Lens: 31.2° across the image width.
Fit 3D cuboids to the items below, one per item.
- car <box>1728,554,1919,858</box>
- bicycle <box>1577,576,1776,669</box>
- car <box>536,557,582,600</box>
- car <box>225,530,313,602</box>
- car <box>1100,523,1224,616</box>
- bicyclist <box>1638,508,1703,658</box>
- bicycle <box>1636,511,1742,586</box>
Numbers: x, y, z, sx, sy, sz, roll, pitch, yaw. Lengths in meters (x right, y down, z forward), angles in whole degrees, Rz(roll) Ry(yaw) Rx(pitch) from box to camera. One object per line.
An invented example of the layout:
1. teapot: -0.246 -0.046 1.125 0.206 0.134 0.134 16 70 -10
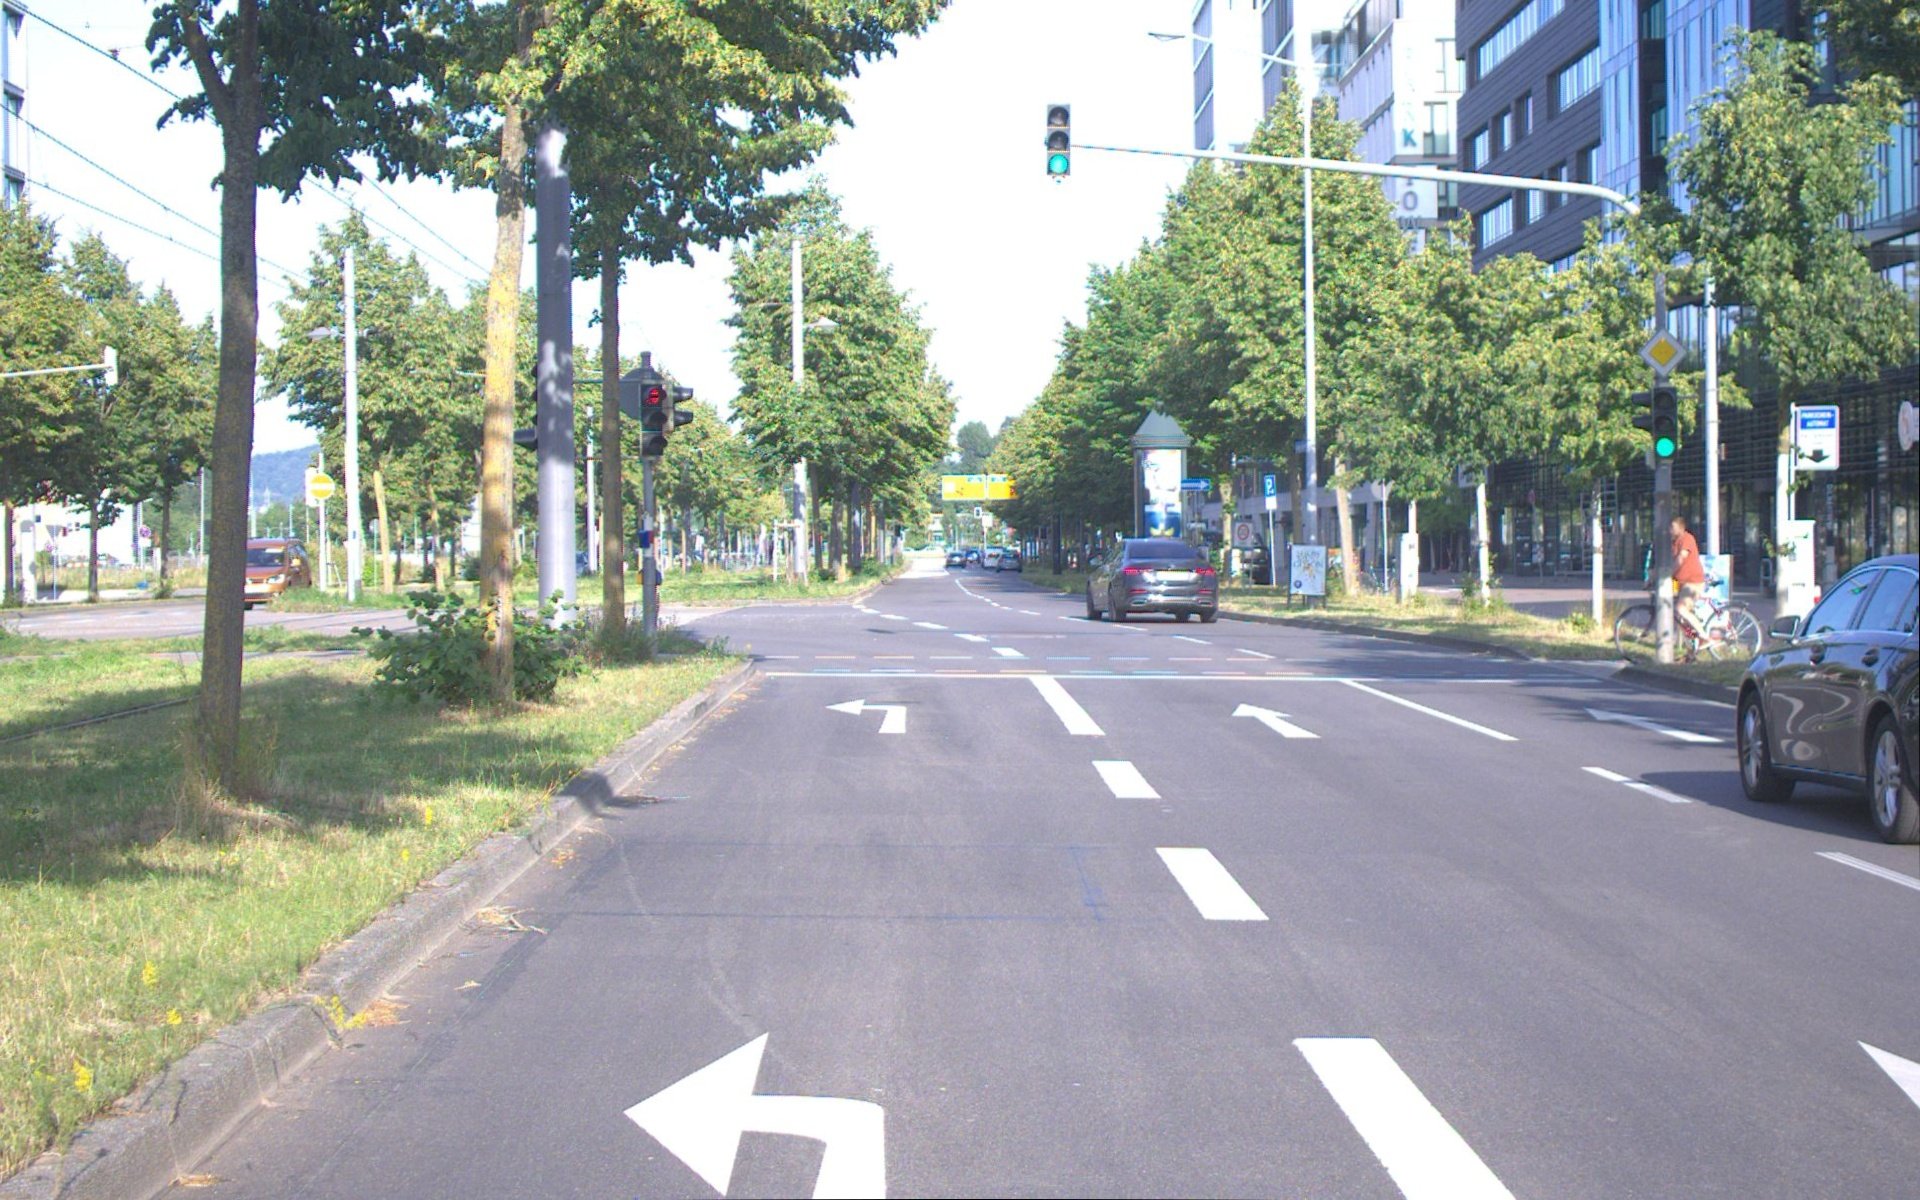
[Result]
1. car: 5.376 0.494 18.045 1.774 1.419 3.961 1 1 0
2. bicycle: 8.203 0.257 39.408 2.134 1.009 0.571 1 0 -4
3. car: -19.453 -1.056 166.828 1.779 2.007 4.000 1 1 -1
4. car: -17.508 -0.864 87.198 1.684 1.769 3.883 1 1 -4
5. car: 3.437 -0.523 58.940 1.859 1.519 3.786 1 1 0
6. bicyclist: 8.138 -0.196 39.387 0.574 1.701 0.541 1 0 -4
7. bicycle: 18.465 -1.312 87.077 2.565 1.851 0.569 1 0 9
